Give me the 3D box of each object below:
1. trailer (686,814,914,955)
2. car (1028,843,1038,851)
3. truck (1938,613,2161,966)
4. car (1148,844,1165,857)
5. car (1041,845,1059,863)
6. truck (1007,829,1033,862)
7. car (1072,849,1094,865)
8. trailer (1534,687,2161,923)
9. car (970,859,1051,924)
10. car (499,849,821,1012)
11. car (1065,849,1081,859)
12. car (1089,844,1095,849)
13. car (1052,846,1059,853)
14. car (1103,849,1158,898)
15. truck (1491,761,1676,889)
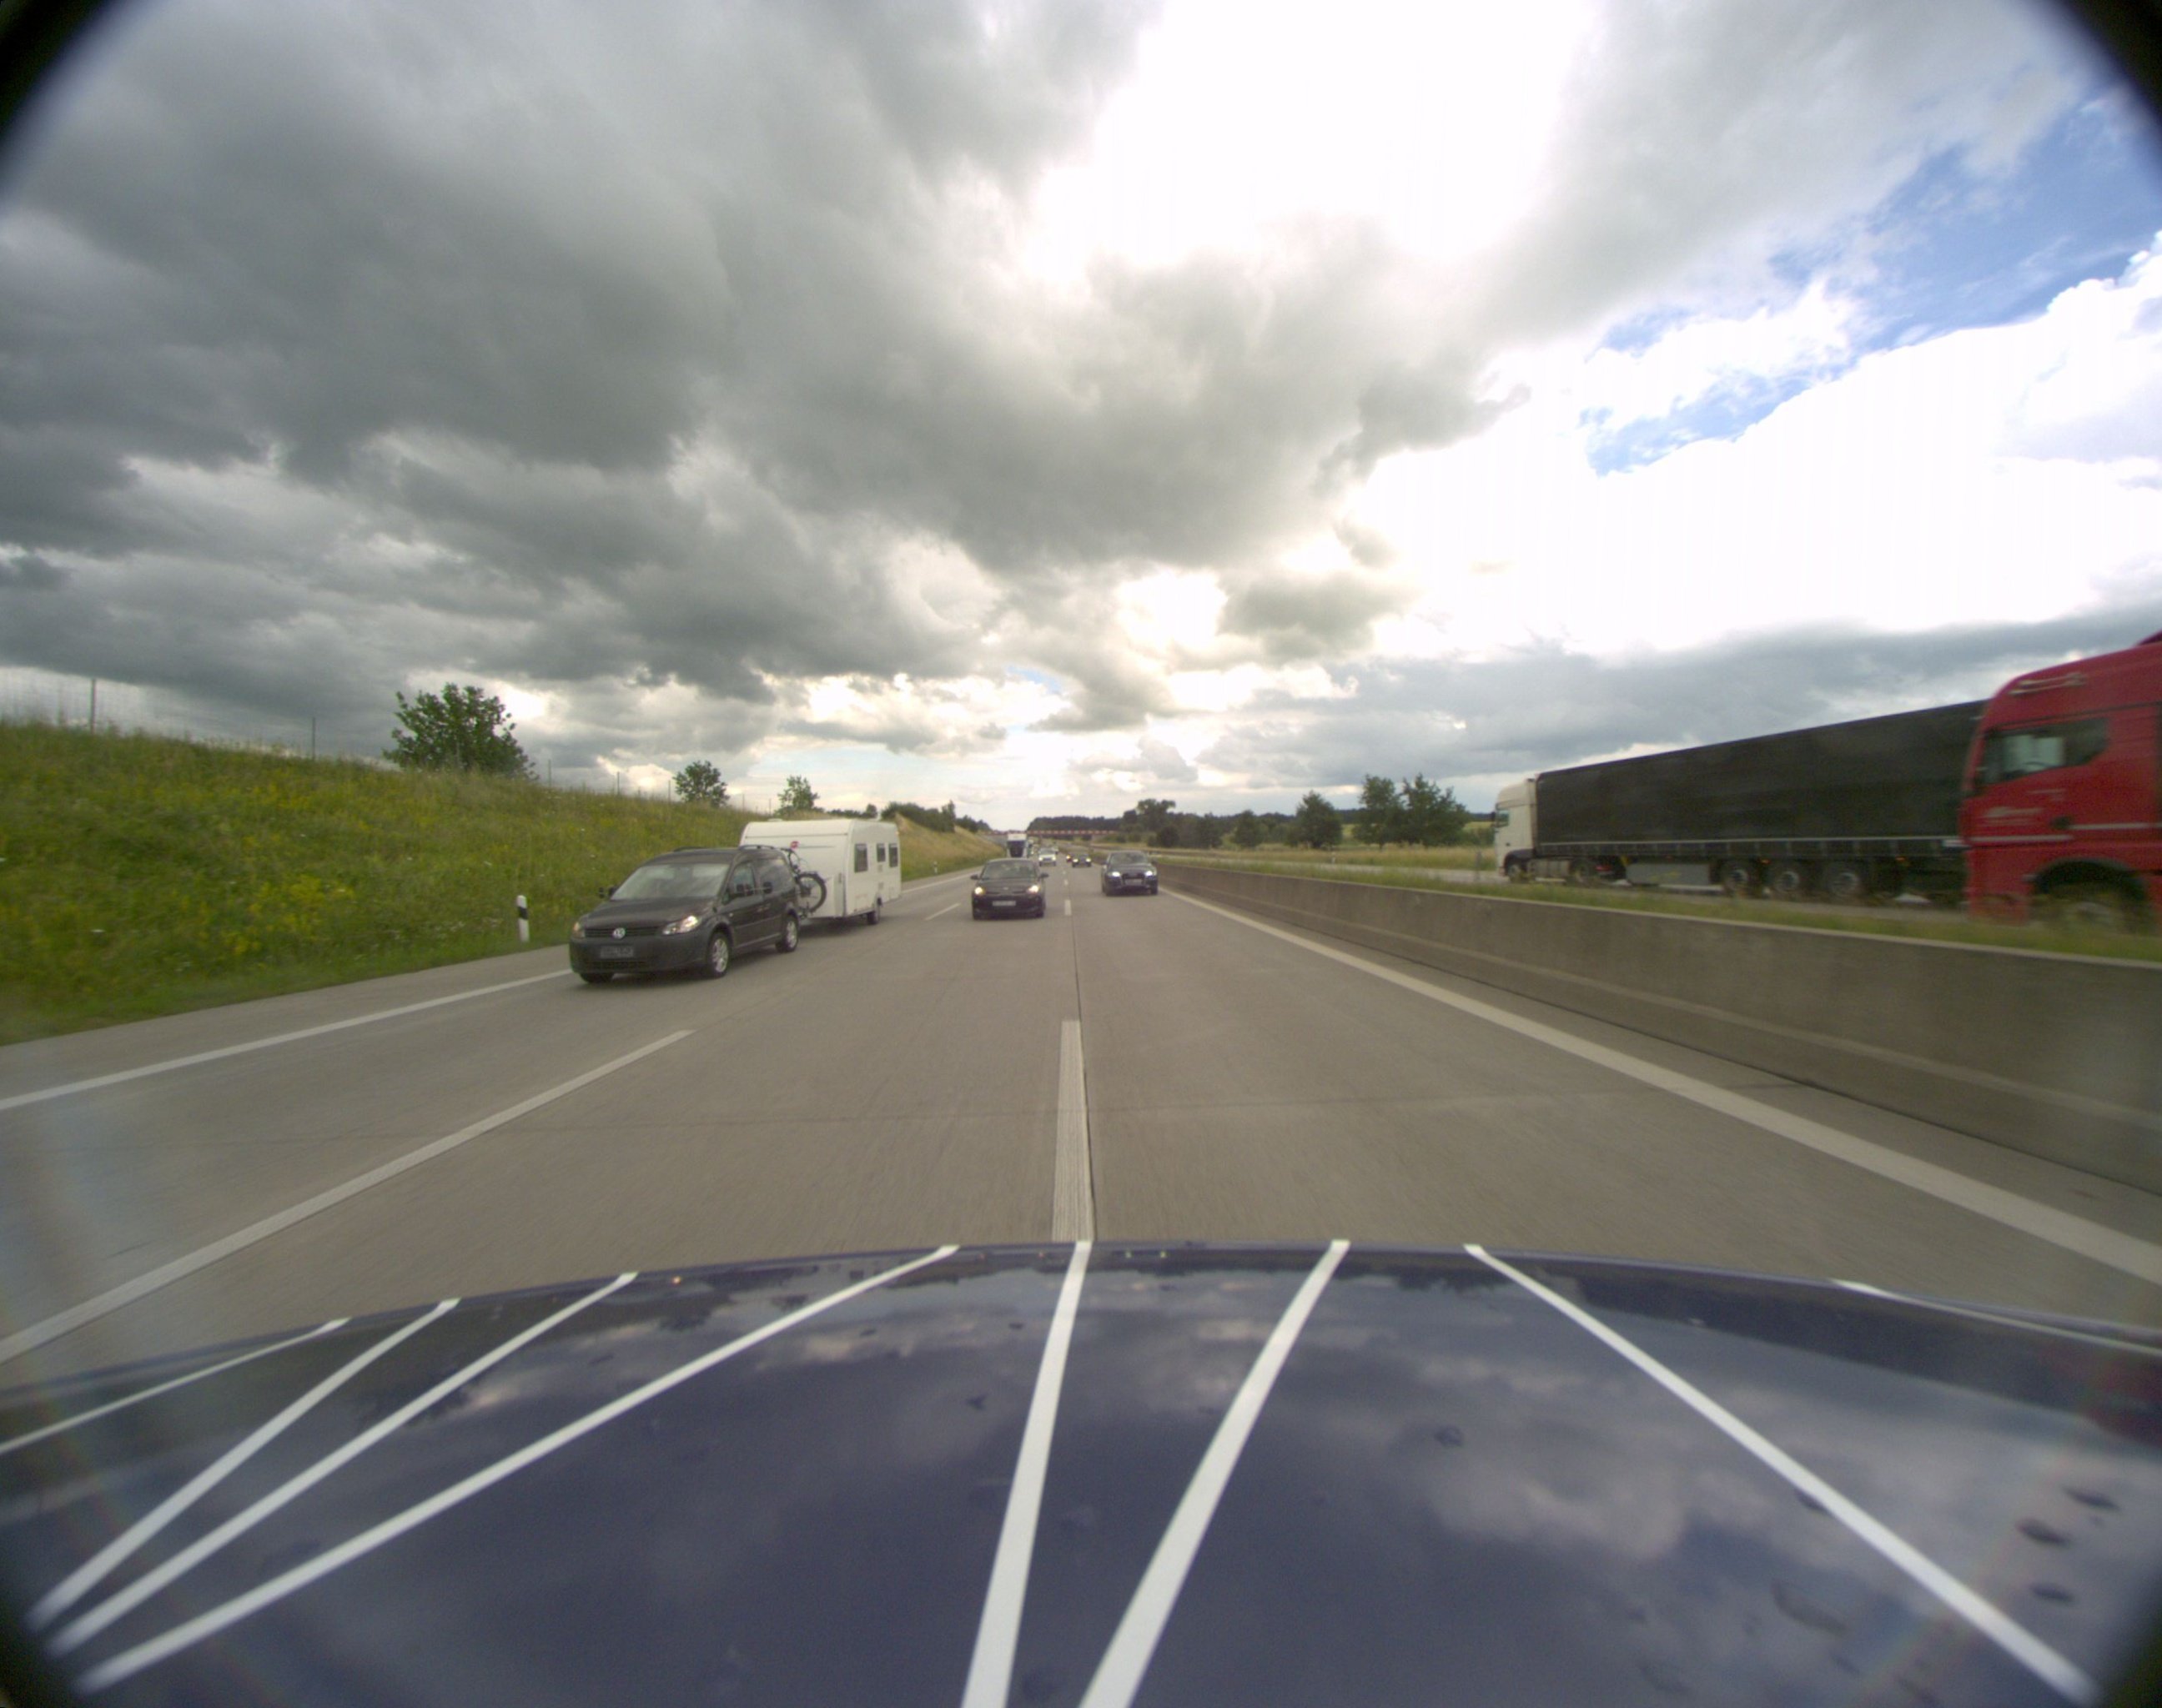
[{"bbox_3d":[-5.848,0.512,17.219,2.615,2.520,6.720,-2,1,0],"label":"trailer"},{"bbox_3d":[-12.486,-1.855,196.570,2.358,2.002,4.810,-2,1,-3],"label":"car"},{"bbox_3d":[13.741,-0.738,5.623,2.824,4.014,10.566,-1,0,0],"label":"truck"},{"bbox_3d":[8.628,-0.399,87.014,1.571,1.344,3.472,-1,1,0],"label":"car"},{"bbox_3d":[-3.482,-0.002,85.948,1.999,2.002,3.999,-1,0,-2],"label":"car"},{"bbox_3d":[-8.217,-1.113,104.215,2.855,4.176,10.707,-1,0,-1],"label":"truck"},{"bbox_3d":[0.239,0.303,76.153,1.939,1.464,4.001,-1,0,4],"label":"car"},{"bbox_3d":[17.589,-0.884,20.055,2.847,4.014,13.905,-1,0,0],"label":"trailer"},{"bbox_3d":[-1.727,0.884,19.755,1.691,1.405,3.999,-2,1,0],"label":"car"},{"bbox_3d":[-5.710,0.868,11.283,1.944,1.799,5.031,-2,1,0],"label":"car"},{"bbox_3d":[-1.092,0.004,105.598,1.821,1.364,3.783,-3,1,4],"label":"car"},{"bbox_3d":[3.435,-2.350,233.705,1.646,1.365,4.097,-2,1,-1],"label":"car"},{"bbox_3d":[-7.145,-1.196,210.953,1.999,2.002,3.998,-1,1,-2],"label":"car"},{"bbox_3d":[1.763,0.638,28.181,1.797,1.587,5.157,-2,0,2],"label":"car"},{"bbox_3d":[17.516,-0.940,26.979,2.847,4.015,5.510,-1,0,0],"label":"truck"}]
